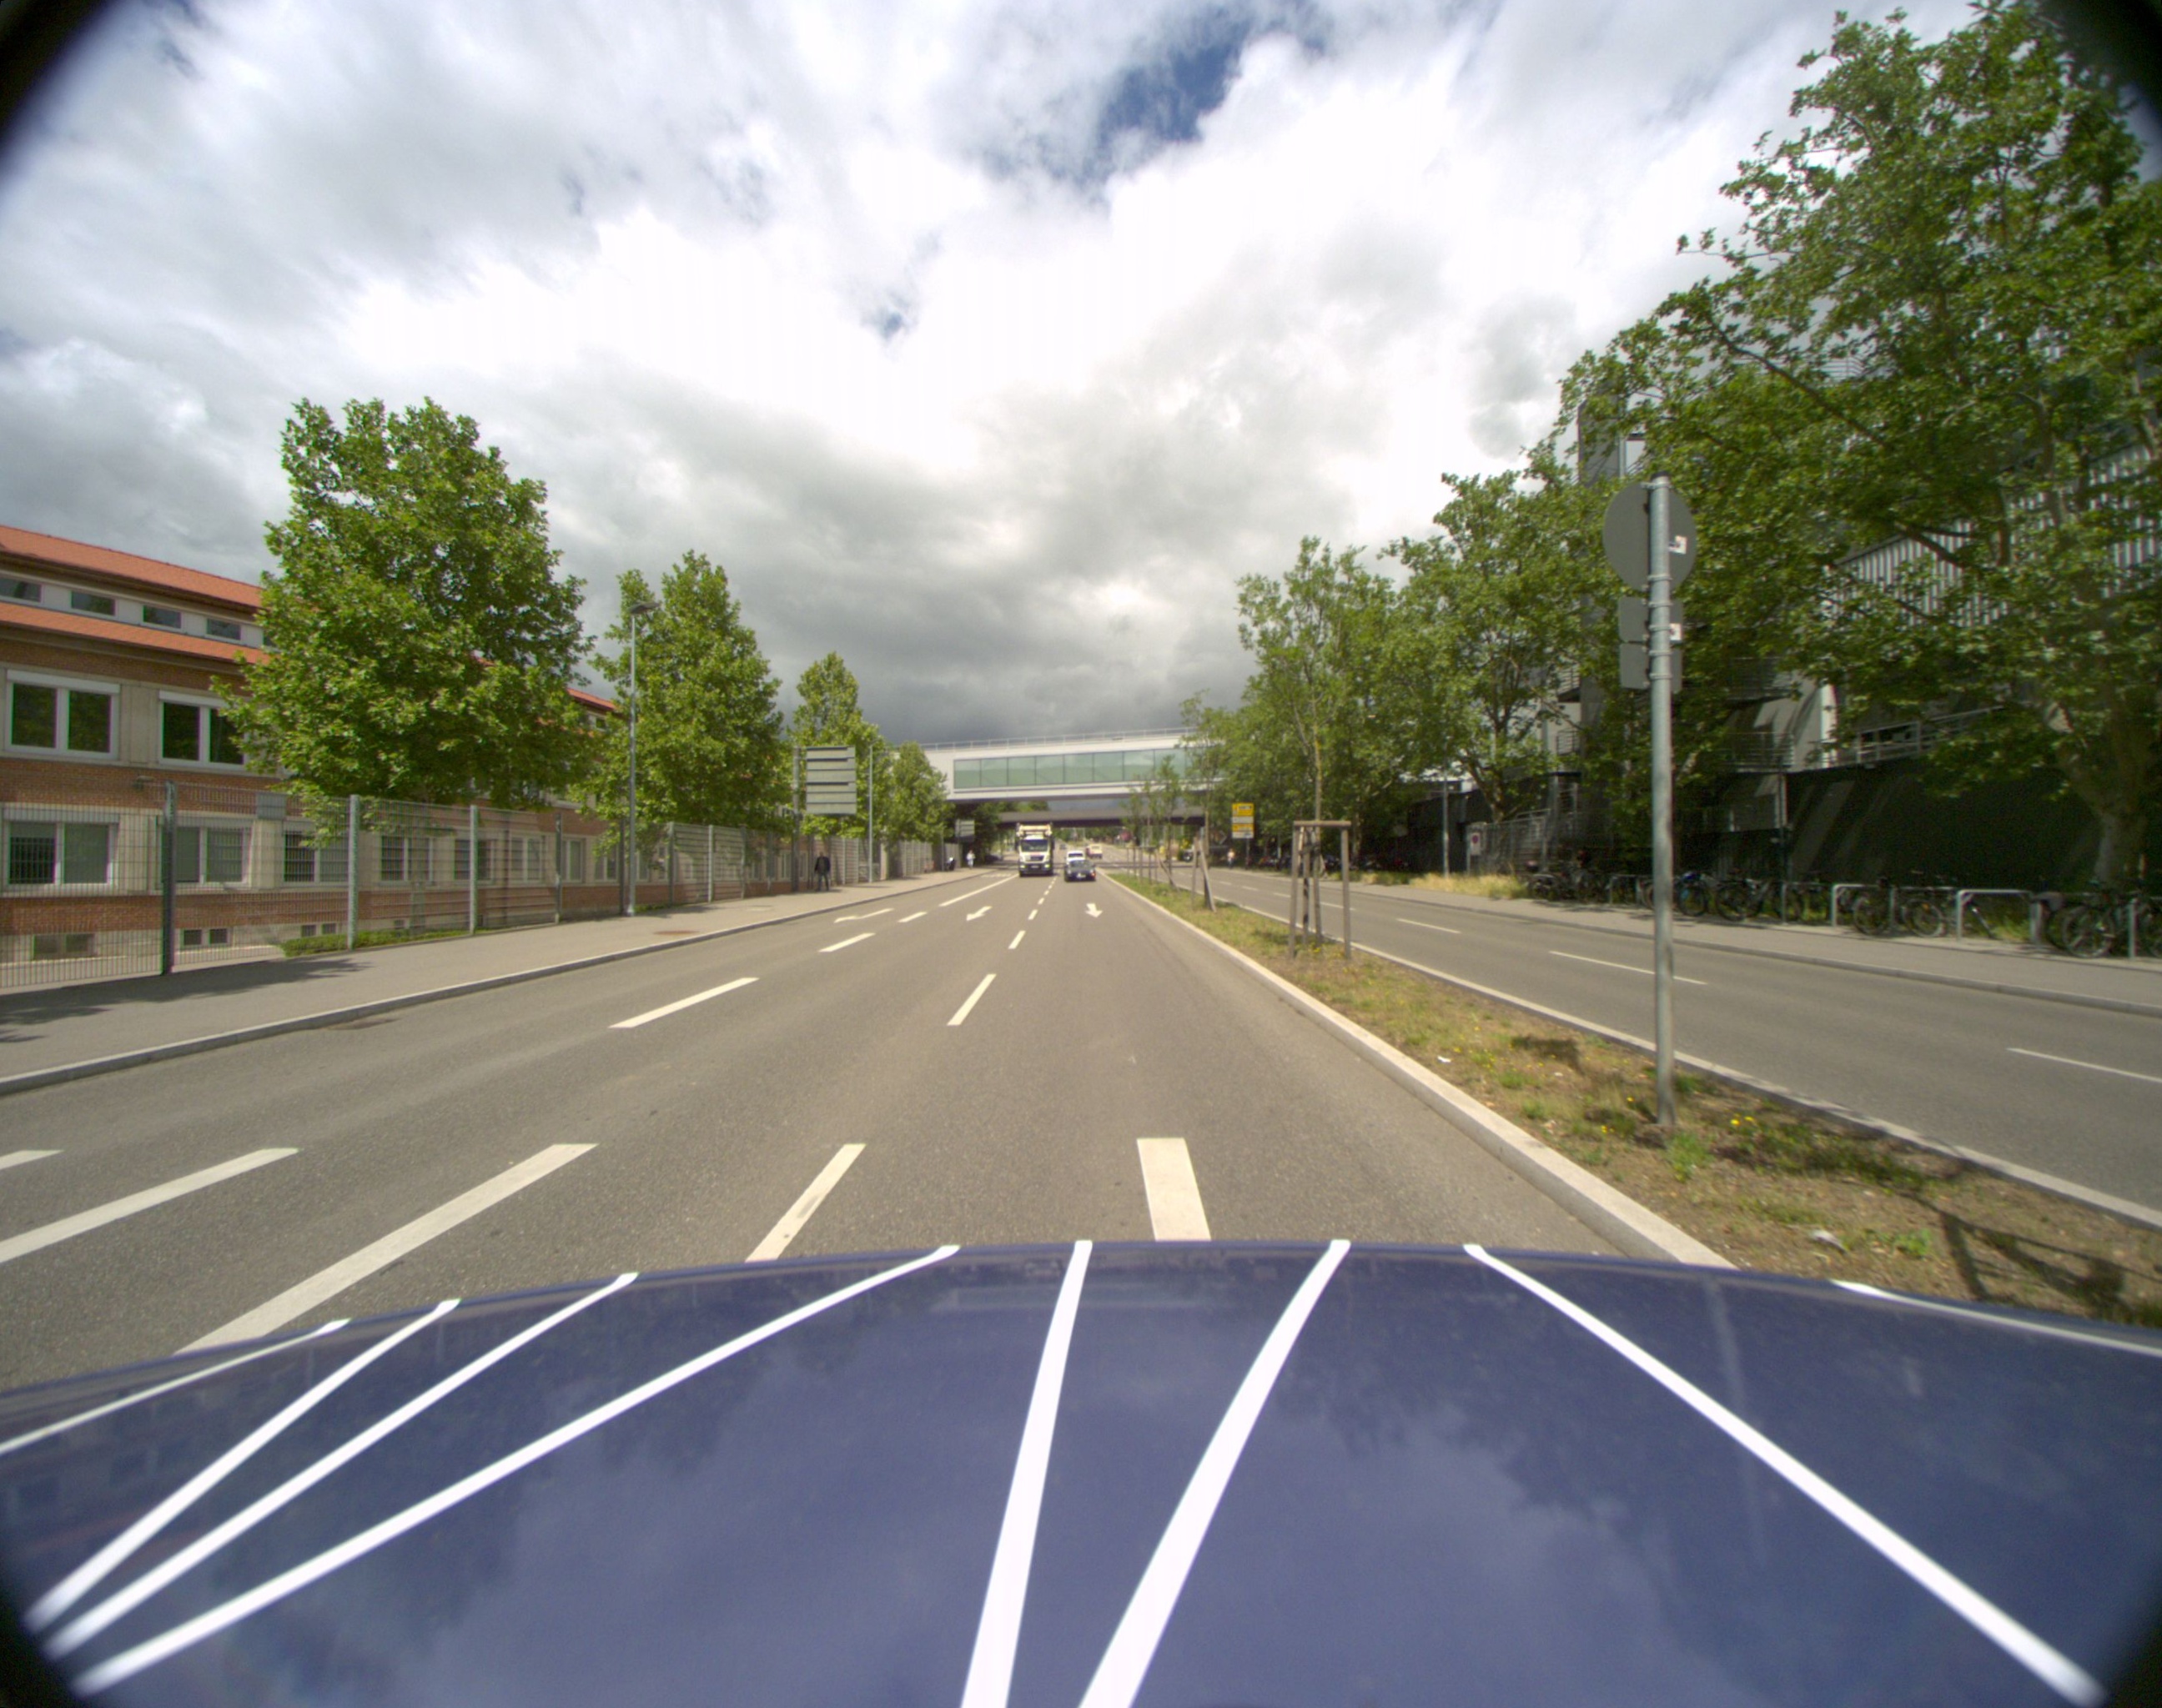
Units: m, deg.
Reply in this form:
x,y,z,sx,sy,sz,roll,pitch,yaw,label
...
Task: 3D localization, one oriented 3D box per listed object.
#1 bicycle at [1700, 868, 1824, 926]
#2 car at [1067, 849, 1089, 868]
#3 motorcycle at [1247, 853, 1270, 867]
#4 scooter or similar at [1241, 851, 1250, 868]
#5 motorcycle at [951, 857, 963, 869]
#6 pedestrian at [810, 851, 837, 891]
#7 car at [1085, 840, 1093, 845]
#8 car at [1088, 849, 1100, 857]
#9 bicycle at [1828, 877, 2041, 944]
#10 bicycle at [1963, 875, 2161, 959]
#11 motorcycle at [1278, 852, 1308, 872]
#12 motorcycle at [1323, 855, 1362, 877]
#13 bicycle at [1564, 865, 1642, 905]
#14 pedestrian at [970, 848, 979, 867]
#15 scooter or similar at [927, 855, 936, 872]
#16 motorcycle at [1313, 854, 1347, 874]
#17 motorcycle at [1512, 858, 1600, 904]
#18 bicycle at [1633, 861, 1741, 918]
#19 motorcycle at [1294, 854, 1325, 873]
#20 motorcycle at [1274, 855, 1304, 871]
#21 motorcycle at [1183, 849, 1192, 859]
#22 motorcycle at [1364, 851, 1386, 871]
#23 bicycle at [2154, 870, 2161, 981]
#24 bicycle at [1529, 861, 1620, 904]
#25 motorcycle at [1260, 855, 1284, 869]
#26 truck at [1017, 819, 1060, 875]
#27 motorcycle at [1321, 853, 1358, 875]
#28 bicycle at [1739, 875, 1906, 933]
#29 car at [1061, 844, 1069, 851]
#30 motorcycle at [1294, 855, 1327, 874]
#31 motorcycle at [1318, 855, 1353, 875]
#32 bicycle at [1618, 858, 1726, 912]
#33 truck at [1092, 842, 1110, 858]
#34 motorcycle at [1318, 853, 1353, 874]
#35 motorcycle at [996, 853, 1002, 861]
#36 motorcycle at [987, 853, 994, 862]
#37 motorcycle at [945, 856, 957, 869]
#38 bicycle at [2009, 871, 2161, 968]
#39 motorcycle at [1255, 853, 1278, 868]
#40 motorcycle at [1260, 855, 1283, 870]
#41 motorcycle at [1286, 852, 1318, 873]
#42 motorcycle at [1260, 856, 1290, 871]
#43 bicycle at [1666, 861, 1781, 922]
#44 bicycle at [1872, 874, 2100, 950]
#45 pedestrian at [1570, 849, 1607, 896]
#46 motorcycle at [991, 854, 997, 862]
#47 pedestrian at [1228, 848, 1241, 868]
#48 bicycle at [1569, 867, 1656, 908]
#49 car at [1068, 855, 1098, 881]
x,y,z,sx,sy,sz,roll,pitch,yaw,label
14.371,0.893,16.057,1.923,1.116,0.806,-1,1,-2,bicycle
-0.307,0.413,73.102,1.929,1.728,3.999,-1,0,-1,car
14.990,0.512,64.229,1.745,1.164,0.777,-3,-1,8,motorcycle
13.141,0.429,60.565,0.355,1.229,1.479,-2,2,-1,scooter or similar
-11.756,0.839,72.109,0.709,1.058,2.510,2,1,-1,motorcycle
-11.393,0.726,33.670,0.879,1.733,0.940,1,1,-1,pedestrian
2.182,-3.094,207.119,1.998,1.346,4.000,0,1,1,car
2.409,-0.190,143.521,1.910,1.621,4.291,-1,0,-4,car
14.750,0.956,13.200,2.569,1.089,0.696,0,1,10,bicycle
14.999,0.930,11.304,2.569,1.151,0.726,-1,1,10,bicycle
15.162,0.571,54.224,1.934,1.283,0.894,-3,-1,20,motorcycle
14.611,0.665,42.496,1.881,1.166,0.746,-3,-1,9,motorcycle
14.751,0.872,21.488,1.929,1.068,0.422,-1,1,-2,bicycle
-10.820,0.366,76.938,0.791,1.877,1.097,0,1,-1,pedestrian
-12.183,0.767,61.780,0.492,1.287,1.336,0,1,-1,scooter or similar
15.655,0.625,47.818,1.882,1.172,0.698,-3,-1,3,motorcycle
14.265,0.800,22.859,2.139,1.301,0.806,-1,1,-2,motorcycle
14.343,0.823,18.022,1.923,1.275,0.806,-1,1,-2,bicycle
15.136,0.627,50.455,1.880,1.172,0.816,-3,-1,15,motorcycle
15.263,0.676,55.719,1.933,1.109,0.923,-3,-1,27,motorcycle
12.816,-0.035,91.753,0.641,1.191,2.257,-3,1,-1,motorcycle
18.728,0.455,48.445,0.654,1.202,1.984,-3,-1,4,motorcycle
14.320,0.858,9.105,2.172,1.356,0.490,-1,1,2,bicycle
14.420,0.820,22.233,2.139,1.173,0.806,-1,1,-2,bicycle
14.985,0.659,59.619,1.595,1.027,0.776,-3,-1,1,motorcycle
-3.195,-0.527,59.557,2.787,3.981,10.085,-1,0,-1,truck
15.108,0.597,44.442,1.881,1.179,0.730,-3,0,8,motorcycle
14.776,0.980,15.169,2.844,1.000,0.850,-1,1,-9,bicycle
-4.594,-1.938,218.376,1.999,2.002,3.999,-1,0,-1,car
14.850,0.677,49.211,1.881,1.172,0.815,-3,-1,9,motorcycle
15.276,0.657,45.643,1.880,1.078,0.795,-3,-1,15,motorcycle
14.909,0.770,19.204,2.139,1.275,0.806,-1,1,-2,bicycle
3.432,-0.709,130.214,2.486,2.735,6.456,-1,0,-3,truck
15.624,0.596,46.655,1.882,1.202,0.655,-3,-1,3,motorcycle
-11.841,0.421,109.438,0.679,1.076,2.180,0,1,-2,motorcycle
-12.189,0.513,101.980,0.679,1.148,2.112,0,1,0,motorcycle
-11.810,0.761,68.978,0.670,1.058,2.246,2,1,-1,motorcycle
14.307,0.882,10.426,2.410,1.250,0.556,-1,1,2,bicycle
15.226,0.519,62.325,1.596,1.116,0.775,-3,-1,-9,motorcycle
15.262,0.652,60.992,1.595,1.116,0.776,-3,-1,1,motorcycle
15.075,0.582,51.859,1.934,1.336,0.866,-3,-1,20,motorcycle
14.690,0.718,57.457,1.939,1.109,0.920,1,1,-12,motorcycle
14.382,0.828,17.045,1.923,1.275,0.806,-1,1,-2,bicycle
14.615,0.939,12.339,2.569,1.151,0.644,-1,1,10,bicycle
17.053,0.600,25.536,0.755,1.543,0.821,-1,1,10,pedestrian
-12.067,0.596,105.810,0.679,1.076,2.037,0,1,-2,motorcycle
12.643,0.353,62.547,0.769,1.603,0.813,-3,1,-1,pedestrian
14.699,0.909,21.019,2.086,1.056,0.497,-1,1,-2,bicycle
0.068,0.786,44.858,1.675,1.390,3.999,-1,0,-1,car
